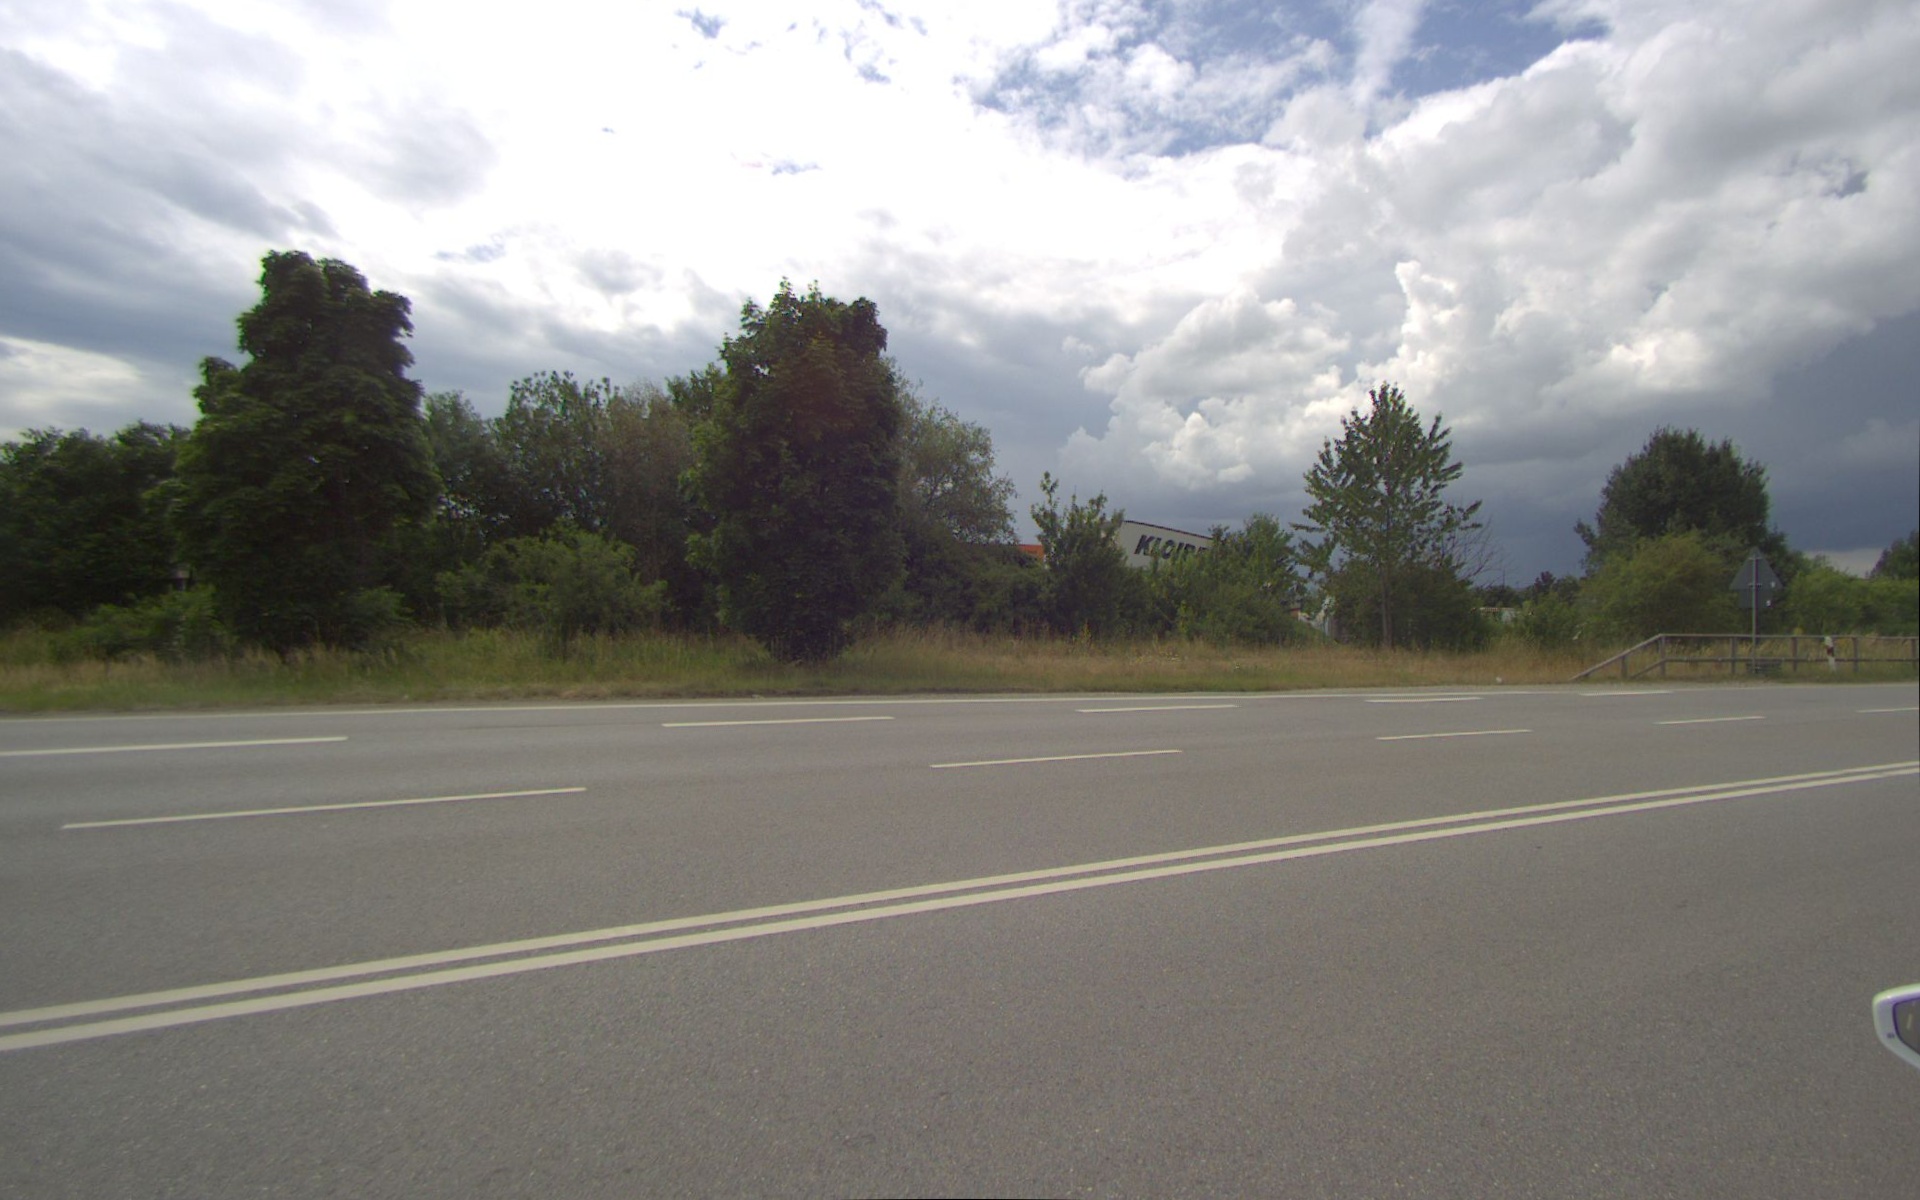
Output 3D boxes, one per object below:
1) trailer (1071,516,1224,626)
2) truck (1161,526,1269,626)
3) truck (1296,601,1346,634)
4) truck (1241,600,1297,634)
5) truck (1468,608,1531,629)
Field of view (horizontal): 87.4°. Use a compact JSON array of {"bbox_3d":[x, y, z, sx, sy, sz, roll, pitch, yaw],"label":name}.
[{"bbox_3d":[9.475,-1.286,49.965,8.924,5.063,2.770,1,1,-44],"label":"trailer"},{"bbox_3d":[13.841,-1.202,54.227,6.148,5.063,2.768,1,1,-44],"label":"truck"},{"bbox_3d":[31.425,1.516,87.308,2.608,2.718,6.637,1,0,33],"label":"truck"},{"bbox_3d":[26.485,1.448,85.907,2.609,2.718,6.633,1,0,35],"label":"truck"},{"bbox_3d":[57.394,1.947,106.879,6.122,2.040,1.995,2,0,-12],"label":"truck"}]
